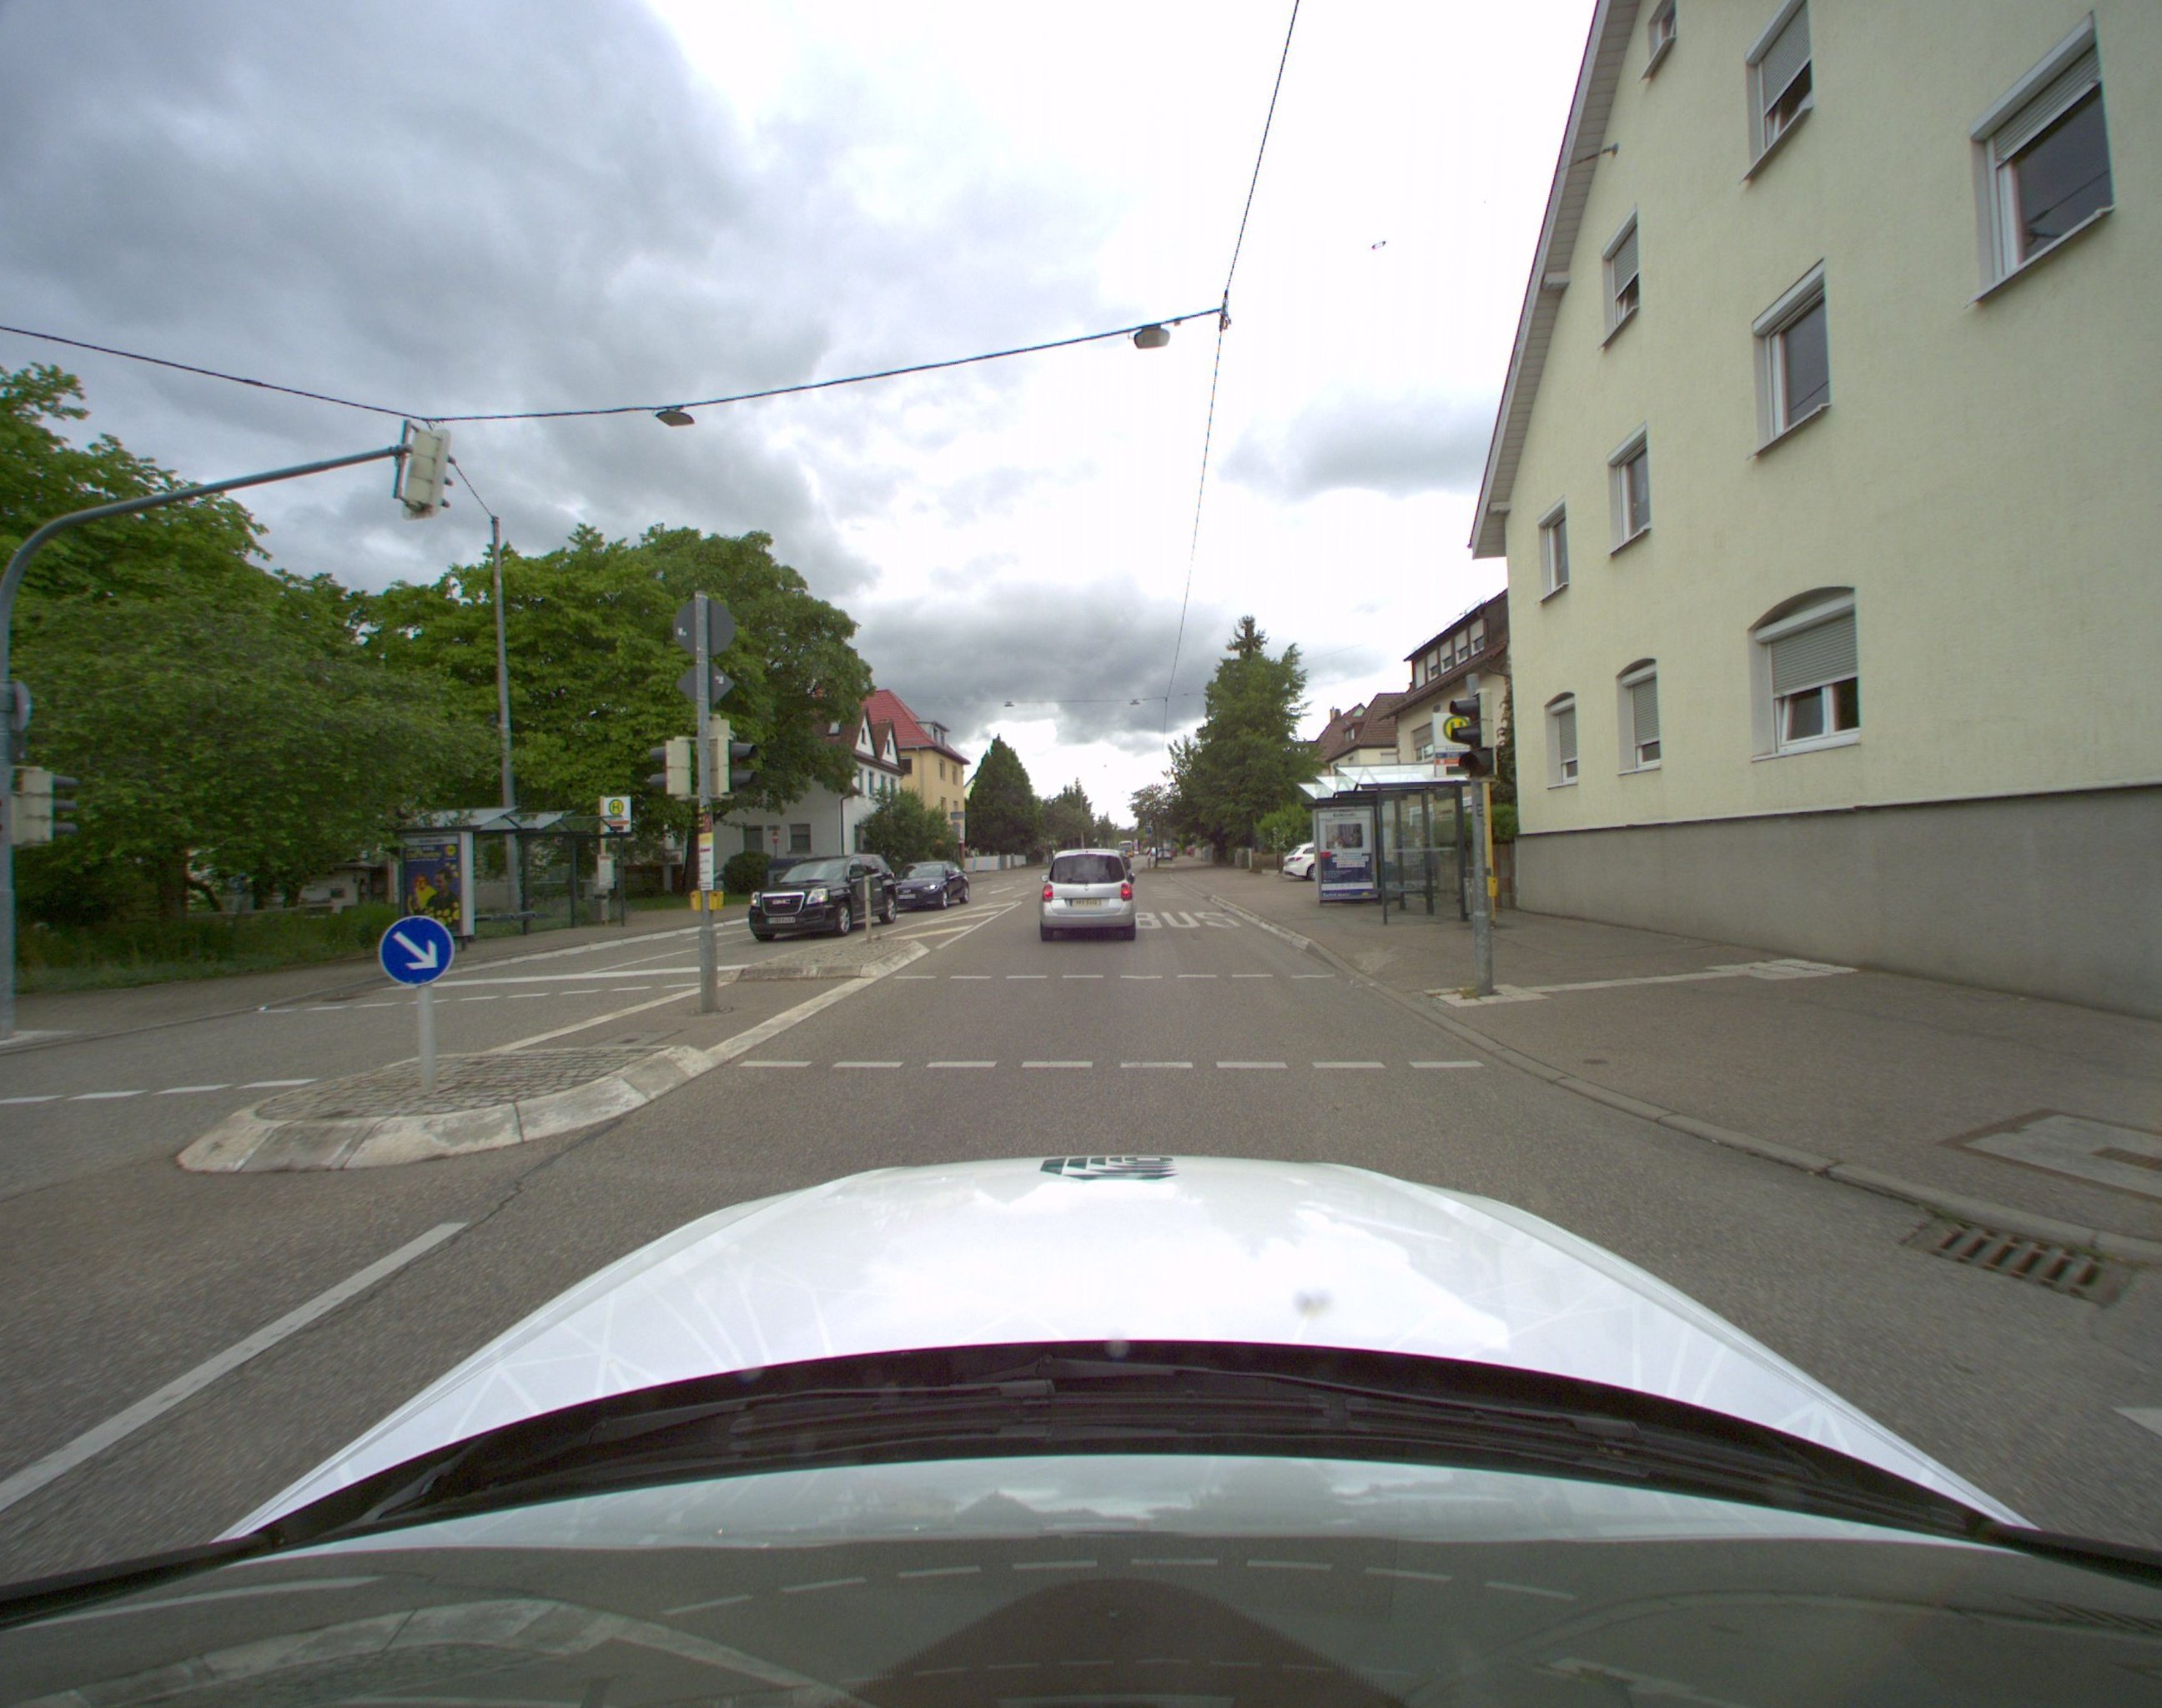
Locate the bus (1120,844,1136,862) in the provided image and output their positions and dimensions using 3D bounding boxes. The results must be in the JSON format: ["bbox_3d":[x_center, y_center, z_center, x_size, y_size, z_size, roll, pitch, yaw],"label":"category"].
[{"bbox_3d":[9.123,-0.218,157.380,2.619,3.086,12.086,-4,0,5],"label":"bus"}]

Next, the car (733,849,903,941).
[{"bbox_3d":[-5.518,0.829,17.812,1.749,1.635,4.602,-4,-1,5],"label":"car"}]

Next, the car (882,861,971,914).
[{"bbox_3d":[-4.628,0.980,24.934,1.556,1.420,4.136,-2,-1,5],"label":"car"}]

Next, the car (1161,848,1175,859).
[{"bbox_3d":[11.539,-0.052,108.102,1.653,1.393,3.676,-2,0,8],"label":"car"}]

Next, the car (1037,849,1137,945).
[{"bbox_3d":[0.108,0.734,15.428,1.624,1.557,3.999,-1,-1,0],"label":"car"}]

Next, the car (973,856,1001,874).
[{"bbox_3d":[-9.064,1.024,78.697,1.799,1.564,4.621,-4,0,3],"label":"car"}]

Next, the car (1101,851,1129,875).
[{"bbox_3d":[2.504,0.659,60.574,1.823,1.675,3.573,-2,0,0],"label":"car"}]

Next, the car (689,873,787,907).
[{"bbox_3d":[-16.801,1.762,39.986,3.969,1.332,1.724,-4,-1,3],"label":"car"}]

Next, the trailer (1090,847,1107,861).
[{"bbox_3d":[2.846,0.064,129.593,2.301,2.087,5.880,-1,-1,5],"label":"trailer"}]

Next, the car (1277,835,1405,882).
[{"bbox_3d":[10.099,0.192,31.864,4.399,1.488,1.867,-4,-1,4],"label":"car"}]

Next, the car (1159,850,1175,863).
[{"bbox_3d":[9.369,0.259,88.958,1.641,1.382,4.007,-2,-1,7],"label":"car"}]

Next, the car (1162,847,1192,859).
[{"bbox_3d":[14.270,-0.157,121.101,3.977,1.496,1.808,-5,0,-3],"label":"car"}]
